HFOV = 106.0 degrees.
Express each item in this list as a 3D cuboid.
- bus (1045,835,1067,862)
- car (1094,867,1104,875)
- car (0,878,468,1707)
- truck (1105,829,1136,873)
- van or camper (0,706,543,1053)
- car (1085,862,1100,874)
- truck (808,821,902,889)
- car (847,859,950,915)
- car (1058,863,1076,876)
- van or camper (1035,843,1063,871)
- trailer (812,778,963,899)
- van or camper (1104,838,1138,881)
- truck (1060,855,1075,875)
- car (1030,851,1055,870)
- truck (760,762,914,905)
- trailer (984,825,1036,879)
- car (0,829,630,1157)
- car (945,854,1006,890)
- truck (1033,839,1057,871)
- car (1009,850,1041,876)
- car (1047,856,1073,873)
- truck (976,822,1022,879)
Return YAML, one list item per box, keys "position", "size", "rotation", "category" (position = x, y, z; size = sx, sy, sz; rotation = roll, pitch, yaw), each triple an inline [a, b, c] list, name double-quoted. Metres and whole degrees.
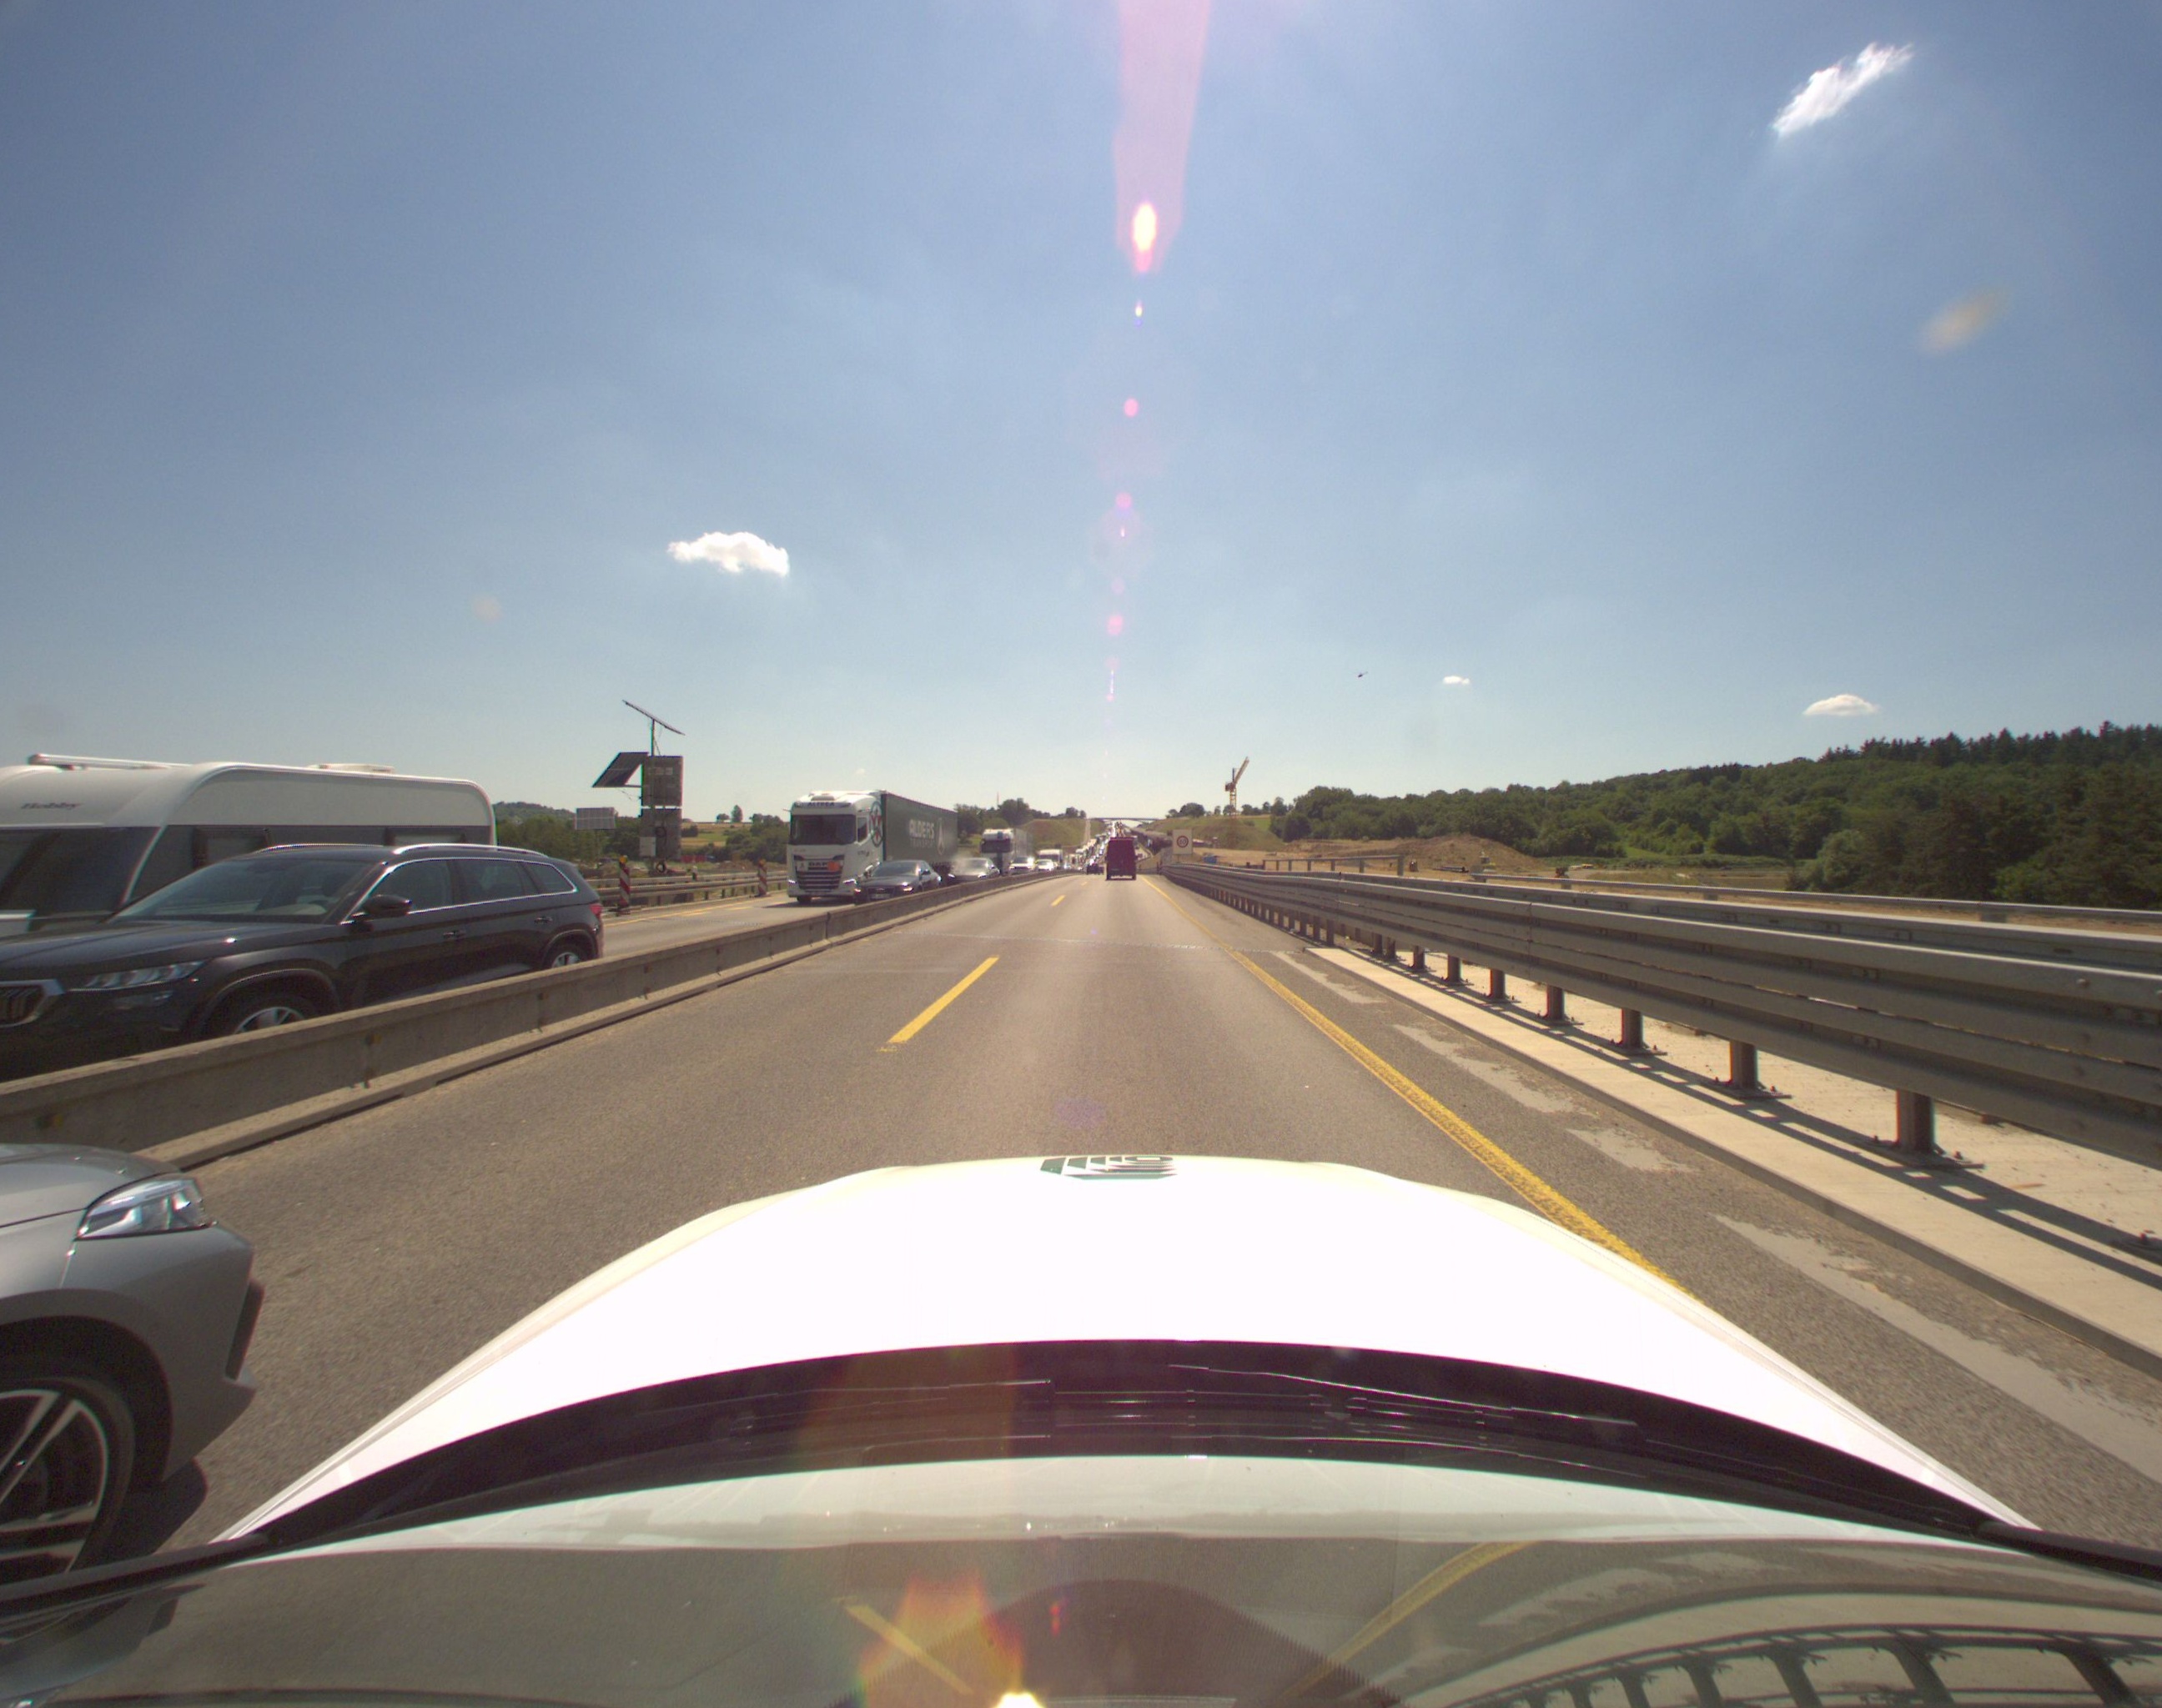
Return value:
- position: [-4.161, -0.858, 139.445]
  size: [2.729, 4.264, 14.482]
  rotation: [1, 0, 2]
  category: "bus"
- position: [3.450, 3.232, 156.550]
  size: [2.004, 1.545, 4.133]
  rotation: [1, 0, 1]
  category: "car"
- position: [-2.892, 0.816, 0.170]
  size: [1.845, 1.452, 4.743]
  rotation: [-1, 0, 1]
  category: "car"
- position: [4.421, -0.288, 91.552]
  size: [3.011, 4.693, 6.932]
  rotation: [-2, 0, 0]
  category: "truck"
- position: [-9.045, 0.211, 9.010]
  size: [2.493, 2.698, 5.247]
  rotation: [-1, 0, 3]
  category: "van or camper"
- position: [1.587, 1.834, 109.268]
  size: [2.005, 1.545, 4.132]
  rotation: [0, 0, 1]
  category: "car"
- position: [-13.408, 0.051, 49.193]
  size: [2.892, 3.765, 8.375]
  rotation: [0, 0, 3]
  category: "truck"
- position: [-5.212, 0.890, 23.912]
  size: [1.770, 1.420, 4.541]
  rotation: [1, 0, 3]
  category: "car"
- position: [-1.715, 1.883, 100.280]
  size: [1.875, 1.432, 5.127]
  rotation: [1, 0, 2]
  category: "car"
- position: [-2.926, 0.266, 76.082]
  size: [2.211, 2.511, 6.533]
  rotation: [1, 0, 1]
  category: "van or camper"
- position: [-8.216, -0.579, 37.065]
  size: [3.089, 4.465, 13.028]
  rotation: [-1, 0, 3]
  category: "trailer"
- position: [2.622, 0.368, 54.229]
  size: [2.022, 2.744, 4.515]
  rotation: [0, 0, 0]
  category: "van or camper"
- position: [-2.974, 2.401, 177.022]
  size: [2.970, 4.185, 5.868]
  rotation: [0, -1, -2]
  category: "truck"
- position: [-3.107, 0.520, 66.399]
  size: [1.988, 1.498, 4.971]
  rotation: [1, 0, -2]
  category: "car"
- position: [-8.535, -0.658, 29.578]
  size: [3.065, 4.537, 7.108]
  rotation: [-1, 0, 3]
  category: "truck"
- position: [-6.273, -0.048, 74.418]
  size: [2.803, 4.430, 13.176]
  rotation: [-1, -1, 3]
  category: "trailer"
- position: [-5.887, 0.710, 6.534]
  size: [1.841, 1.688, 4.620]
  rotation: [1, 0, 1]
  category: "car"
- position: [-4.630, 0.759, 36.282]
  size: [1.858, 1.459, 4.610]
  rotation: [1, 0, 3]
  category: "car"
- position: [-5.004, 0.248, 115.302]
  size: [2.792, 4.153, 10.078]
  rotation: [1, -3, 1]
  category: "truck"
- position: [-3.775, 0.592, 55.692]
  size: [1.750, 1.646, 4.157]
  rotation: [1, 0, 2]
  category: "car"
- position: [-2.258, 1.115, 89.675]
  size: [2.362, 1.726, 5.784]
  rotation: [1, 0, 2]
  category: "car"
- position: [-6.622, -0.258, 66.908]
  size: [2.795, 4.392, 6.229]
  rotation: [-1, 0, 3]
  category: "truck"
